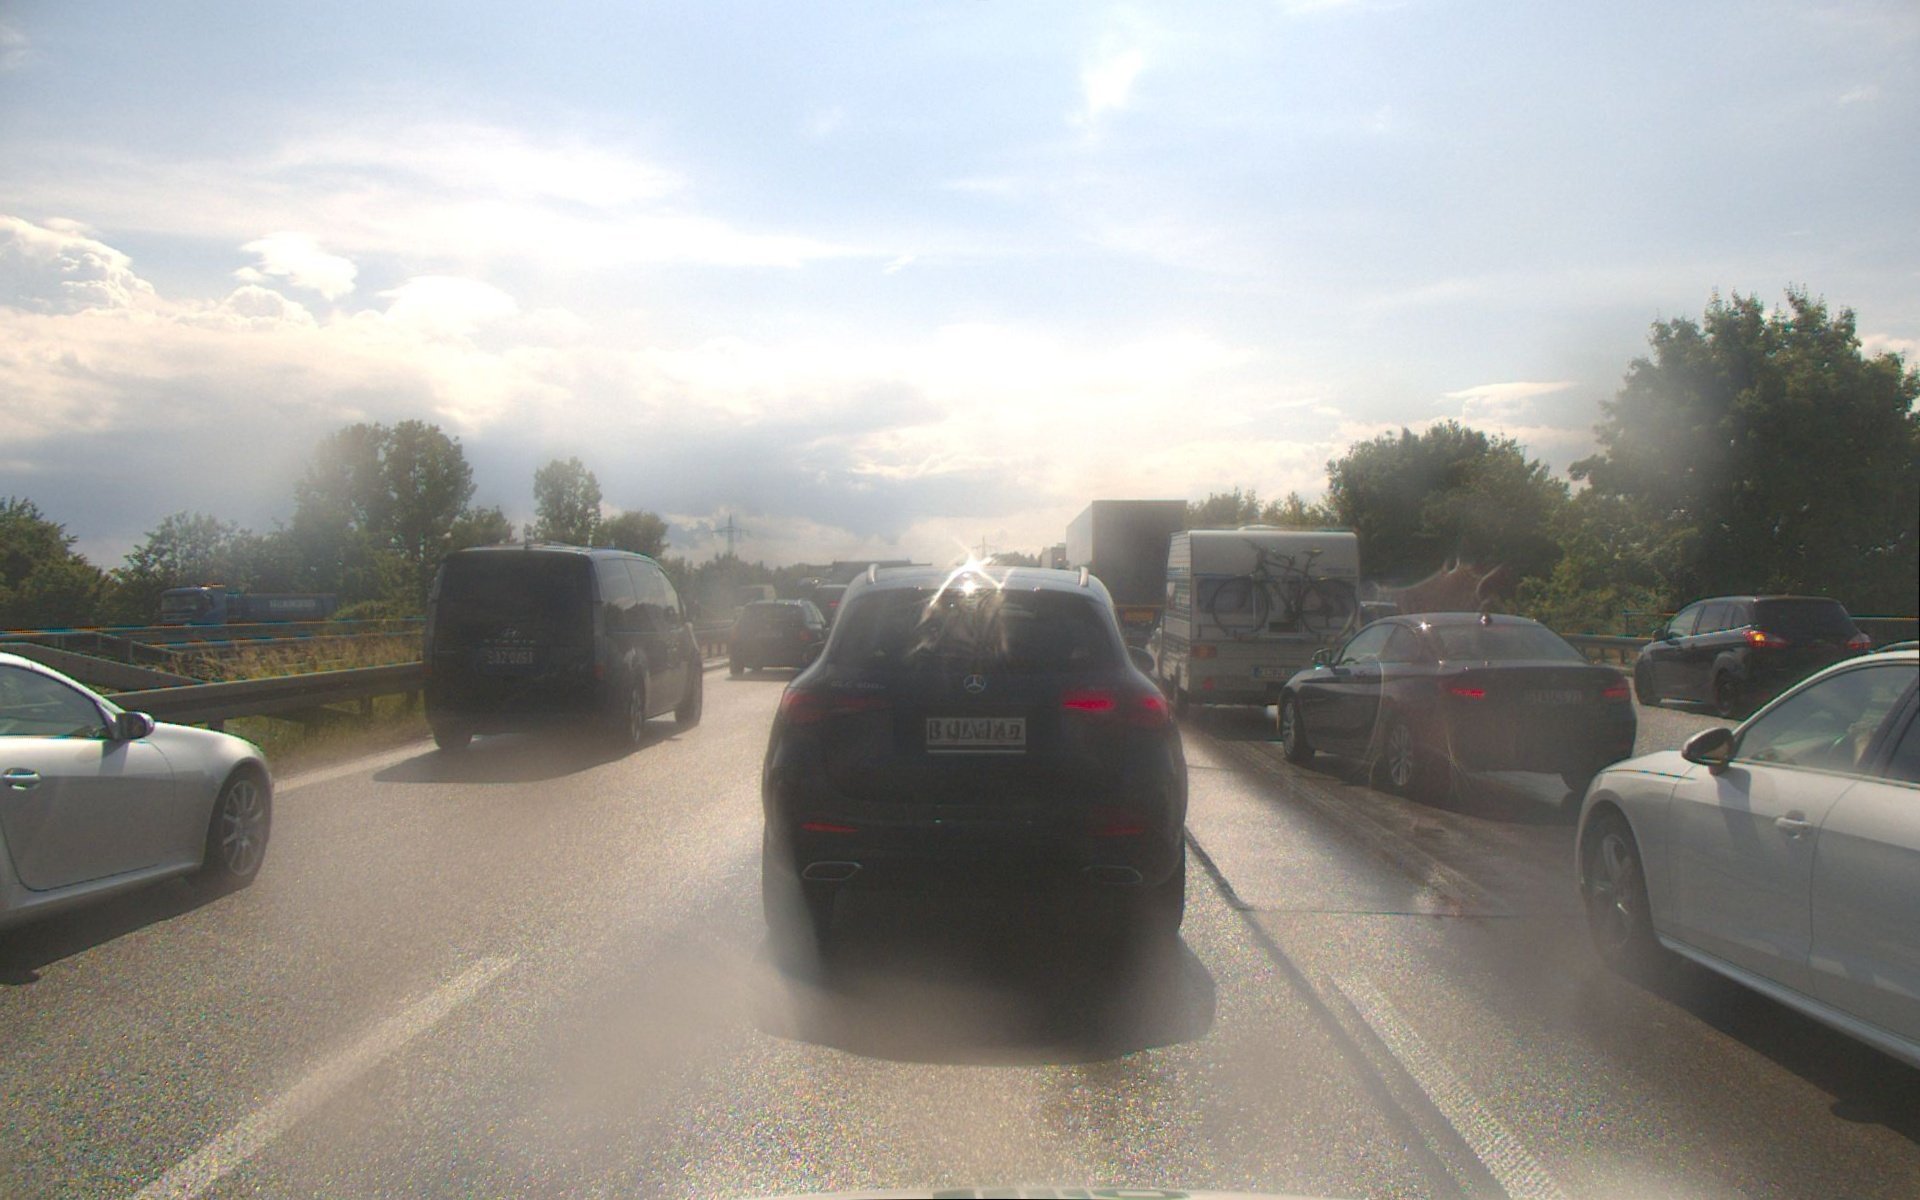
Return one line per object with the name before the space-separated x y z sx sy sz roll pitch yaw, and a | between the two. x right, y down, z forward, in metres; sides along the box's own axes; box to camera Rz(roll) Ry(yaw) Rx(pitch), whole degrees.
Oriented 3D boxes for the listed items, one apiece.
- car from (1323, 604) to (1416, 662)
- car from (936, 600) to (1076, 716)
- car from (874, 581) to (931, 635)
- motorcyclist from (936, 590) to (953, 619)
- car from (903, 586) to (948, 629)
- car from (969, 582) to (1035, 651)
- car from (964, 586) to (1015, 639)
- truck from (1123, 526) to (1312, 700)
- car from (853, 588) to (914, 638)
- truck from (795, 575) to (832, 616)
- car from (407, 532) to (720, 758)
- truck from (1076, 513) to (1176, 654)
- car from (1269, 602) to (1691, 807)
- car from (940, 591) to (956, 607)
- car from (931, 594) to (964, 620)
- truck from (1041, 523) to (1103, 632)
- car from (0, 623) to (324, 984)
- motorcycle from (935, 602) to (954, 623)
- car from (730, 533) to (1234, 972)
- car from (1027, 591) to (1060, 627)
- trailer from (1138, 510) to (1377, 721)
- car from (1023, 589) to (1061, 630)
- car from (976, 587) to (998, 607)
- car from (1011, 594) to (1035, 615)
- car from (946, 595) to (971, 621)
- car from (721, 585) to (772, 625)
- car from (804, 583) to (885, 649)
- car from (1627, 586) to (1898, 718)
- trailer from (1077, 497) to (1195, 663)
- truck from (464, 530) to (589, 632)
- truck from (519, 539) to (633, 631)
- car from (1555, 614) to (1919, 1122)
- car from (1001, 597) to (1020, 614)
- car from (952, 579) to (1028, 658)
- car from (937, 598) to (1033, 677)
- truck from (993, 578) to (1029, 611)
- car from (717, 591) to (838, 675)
car | 11.942 0.924 48.443 1.810 1.596 4.001 1 0 1
car | 0.658 0.717 22.377 1.720 1.411 3.946 0 0 2
car | -2.383 0.327 69.310 1.952 2.048 4.001 4 0 2
motorcyclist | -0.964 0.275 102.400 1.042 1.748 0.785 0 0 2
car | -1.671 0.341 80.894 1.952 2.049 4.001 0 0 2
car | 1.390 0.514 53.791 1.952 2.048 4.001 4 0 2
car | 1.242 0.486 67.108 1.952 2.049 4.001 1 0 2
truck | 4.066 0.204 27.214 2.325 2.520 5.757 1 0 1
car | -2.841 0.467 62.296 1.952 1.803 4.001 1 0 2
truck | -15.401 -0.451 173.855 2.943 4.175 7.687 -1 0 1
car | -3.992 0.400 17.678 1.952 2.049 5.270 0 0 1
truck | 5.216 -0.510 52.749 2.932 4.239 5.242 1 0 4
car | 4.282 0.776 14.406 1.814 1.490 4.247 0 0 -9
car | -1.574 -0.104 215.675 1.953 2.049 3.999 1 0 -1
car | -0.816 0.480 112.597 1.952 1.644 4.001 4 0 2
truck | 5.268 -1.029 79.074 2.450 4.914 7.543 1 0 1
car | -4.407 0.781 7.107 1.689 1.300 4.064 0 0 1
motorcycle | -0.971 0.759 102.319 1.051 1.293 2.691 0 0 2
car | 0.142 0.595 8.627 1.952 1.690 4.406 0 0 1
car | 5.234 0.558 104.026 1.952 2.048 4.001 4 0 2
trailer | 3.961 0.200 23.343 2.325 2.527 6.524 1 0 1
car | 4.363 0.496 88.525 1.952 2.049 4.001 2 0 2
car | 2.418 -0.279 149.215 1.838 1.791 3.999 1 0 -1
car | 5.540 0.433 144.933 1.838 1.791 3.999 1 0 -1
car | -0.139 0.664 142.045 1.953 2.048 3.999 4 0 -1
car | -12.738 0.254 99.056 1.952 2.247 6.981 1 1 1
car | -3.202 0.449 46.645 1.953 1.750 4.000 1 0 0
car | 11.117 0.660 23.287 1.783 1.649 4.364 1 0 1
trailer | 4.847 -0.512 47.020 2.944 4.239 8.540 1 0 4
truck | -17.418 -0.656 67.047 2.803 3.888 7.878 0 -1 1
truck | -17.256 -0.568 75.019 2.789 3.920 9.423 0 -1 1
car | 3.649 0.800 5.345 1.789 1.450 4.510 2 -1 0
car | 5.637 0.602 184.472 1.838 1.791 3.999 1 0 -1
car | 0.873 0.480 45.171 1.952 2.049 4.001 1 0 2
car | 0.525 0.707 32.820 1.768 1.432 4.001 1 0 2
truck | 6.456 -0.685 210.874 3.766 4.087 11.216 1 0 -2
car | -3.498 0.597 32.431 1.720 1.543 4.210 0 0 2
